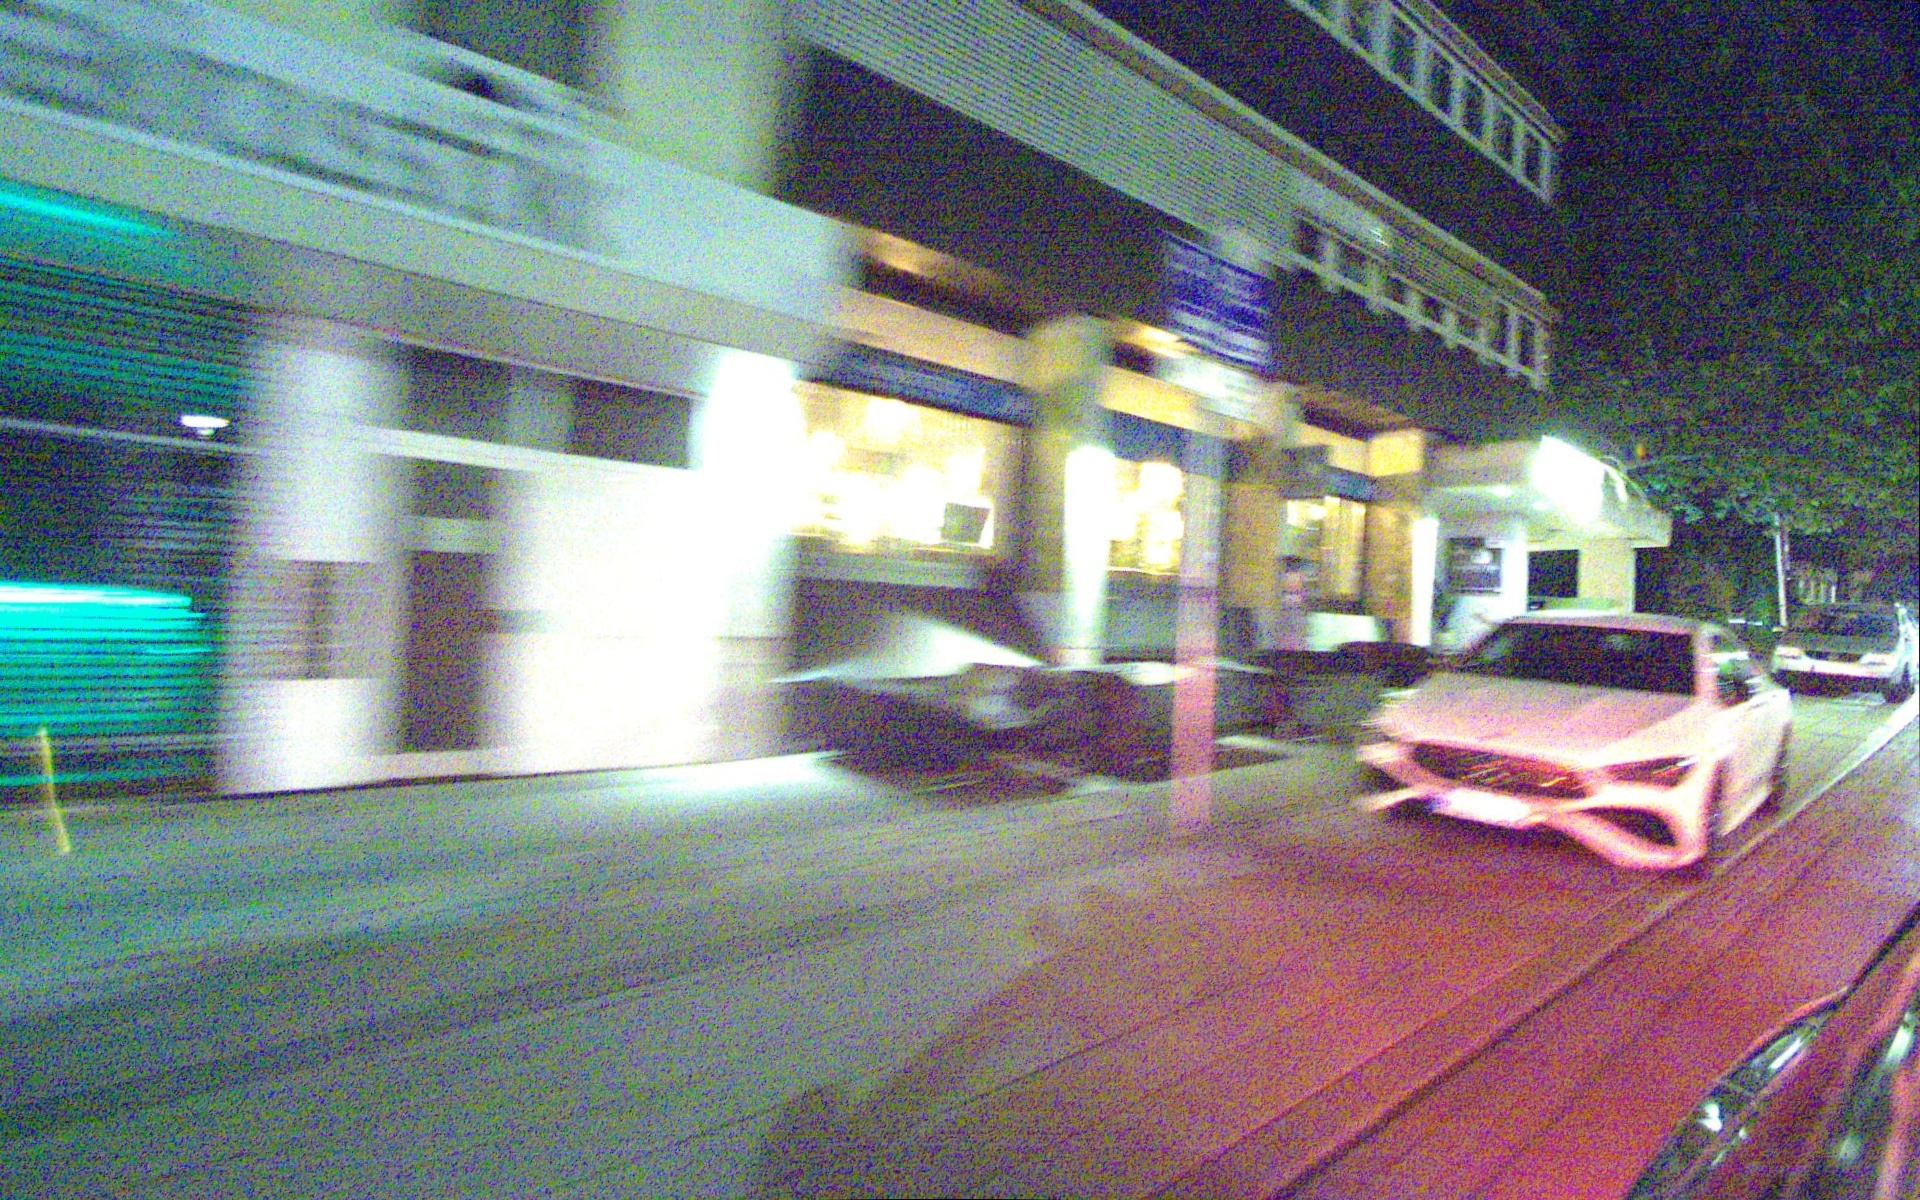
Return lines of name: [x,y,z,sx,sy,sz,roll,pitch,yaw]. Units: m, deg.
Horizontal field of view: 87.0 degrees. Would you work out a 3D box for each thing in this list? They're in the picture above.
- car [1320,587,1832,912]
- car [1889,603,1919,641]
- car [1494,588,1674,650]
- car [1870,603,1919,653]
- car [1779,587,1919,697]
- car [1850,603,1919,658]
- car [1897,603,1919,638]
car: [4.467,0.690,6.987,4.517,1.460,1.860,0,2,-43]
car: [38.210,0.854,40.280,1.761,1.434,4.370,0,0,43]
car: [17.820,0.507,29.095,4.011,1.605,1.699,1,1,16]
car: [30.267,0.846,32.085,4.533,1.465,1.678,0,-1,-43]
car: [16.067,0.648,17.993,4.307,1.662,1.789,0,2,-44]
car: [26.575,0.818,28.738,1.780,1.456,4.221,-1,-1,44]
car: [41.652,0.865,43.672,1.639,1.485,3.715,-1,-1,45]
